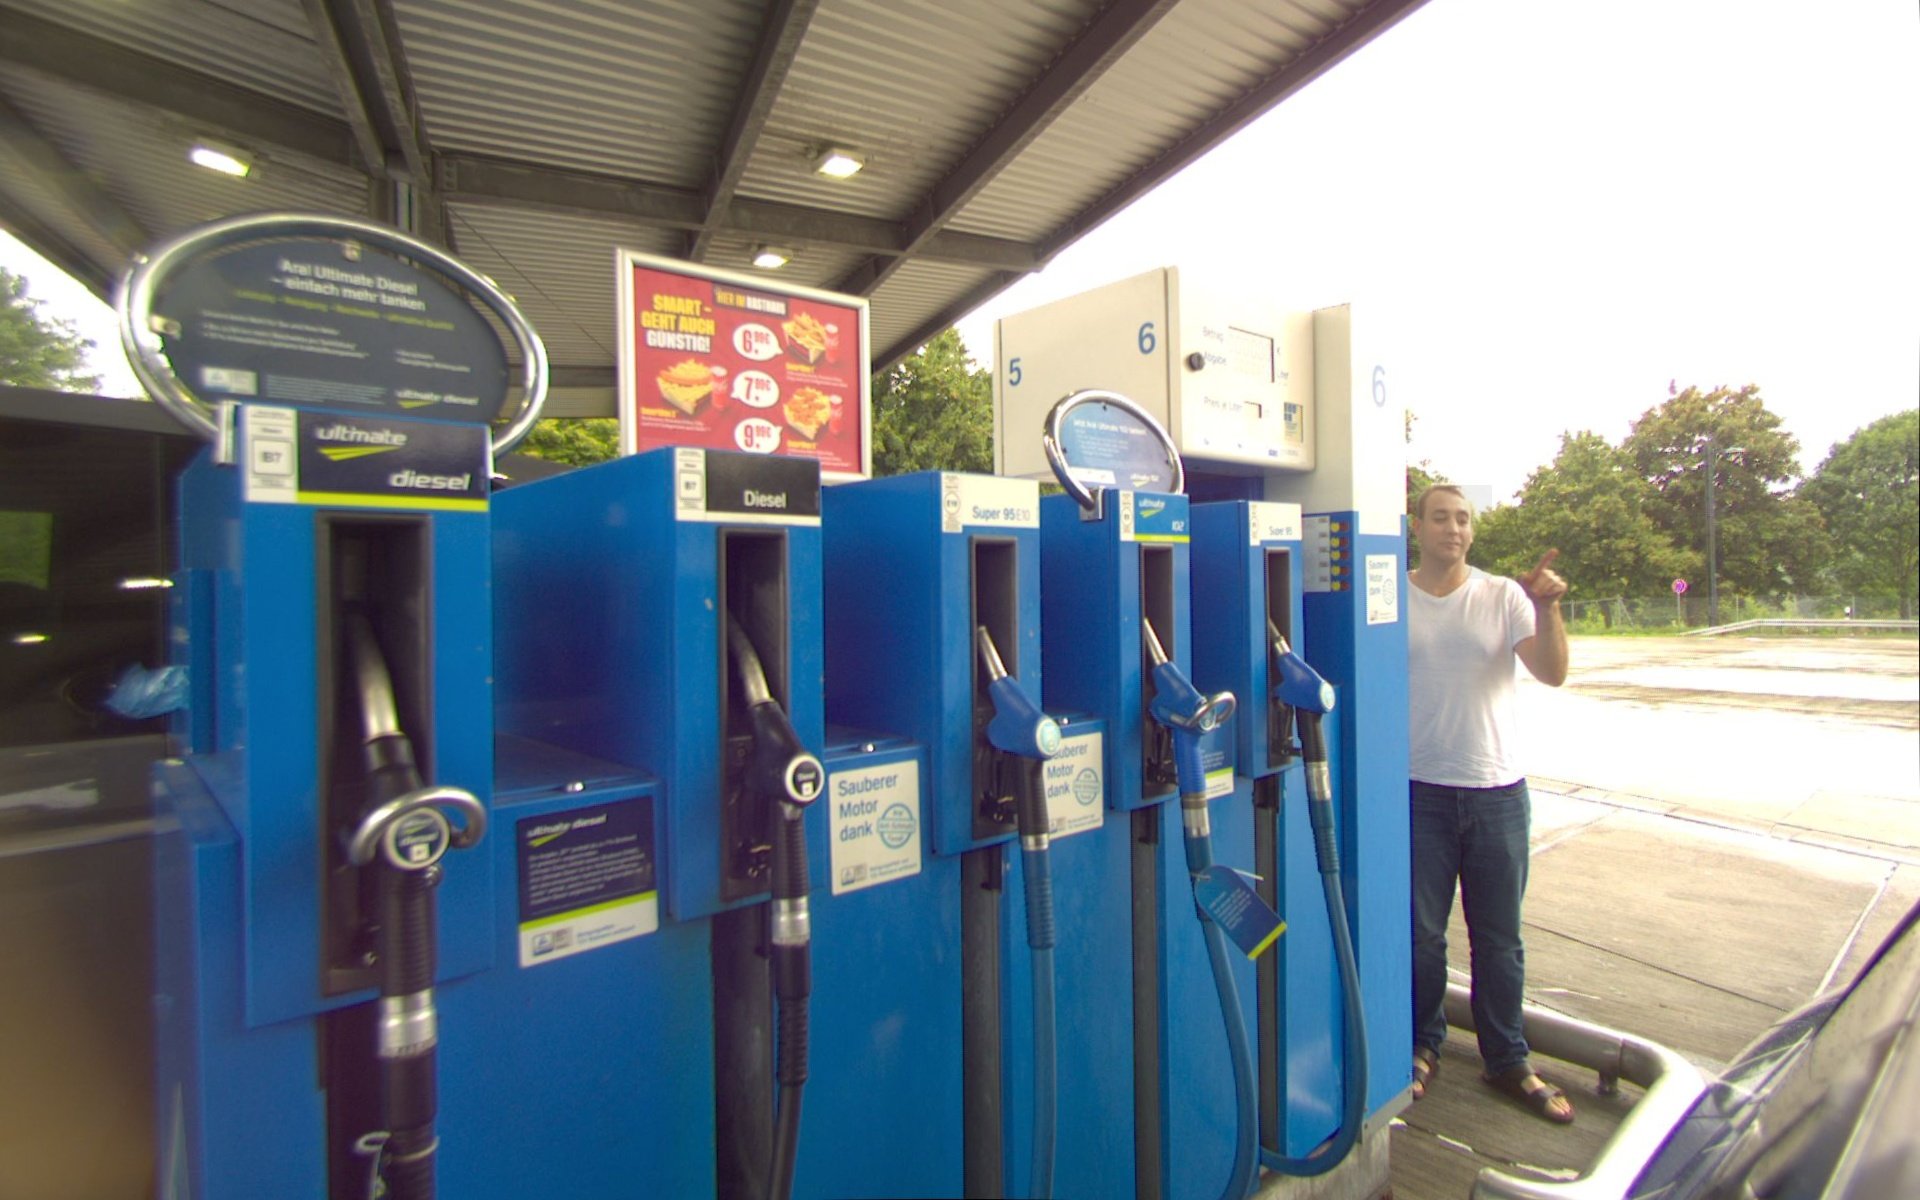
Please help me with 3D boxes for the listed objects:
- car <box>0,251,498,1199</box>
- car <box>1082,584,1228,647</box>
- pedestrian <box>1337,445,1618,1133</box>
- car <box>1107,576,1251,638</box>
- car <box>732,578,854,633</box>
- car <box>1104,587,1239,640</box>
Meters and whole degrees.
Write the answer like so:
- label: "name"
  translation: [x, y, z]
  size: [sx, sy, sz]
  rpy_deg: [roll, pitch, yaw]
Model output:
- label: "car"
  translation: [-3.023, 0.427, 1.480]
  size: [3.930, 1.973, 1.819]
  rpy_deg: [0, 0, -41]
- label: "car"
  translation: [5.809, 0.417, 30.014]
  size: [4.123, 1.752, 1.990]
  rpy_deg: [0, 0, 17]
- label: "pedestrian"
  translation: [1.494, 0.502, 3.006]
  size: [0.625, 1.832, 0.492]
  rpy_deg: [-1, 1, 15]
- label: "car"
  translation: [7.482, 0.208, 34.754]
  size: [4.700, 2.011, 2.007]
  rpy_deg: [0, 0, 14]
- label: "car"
  translation: [-5.572, 0.147, 33.487]
  size: [1.967, 1.683, 4.170]
  rpy_deg: [0, 0, -44]
- label: "car"
  translation: [6.783, 0.396, 32.335]
  size: [4.123, 1.576, 1.990]
  rpy_deg: [1, 0, 17]
